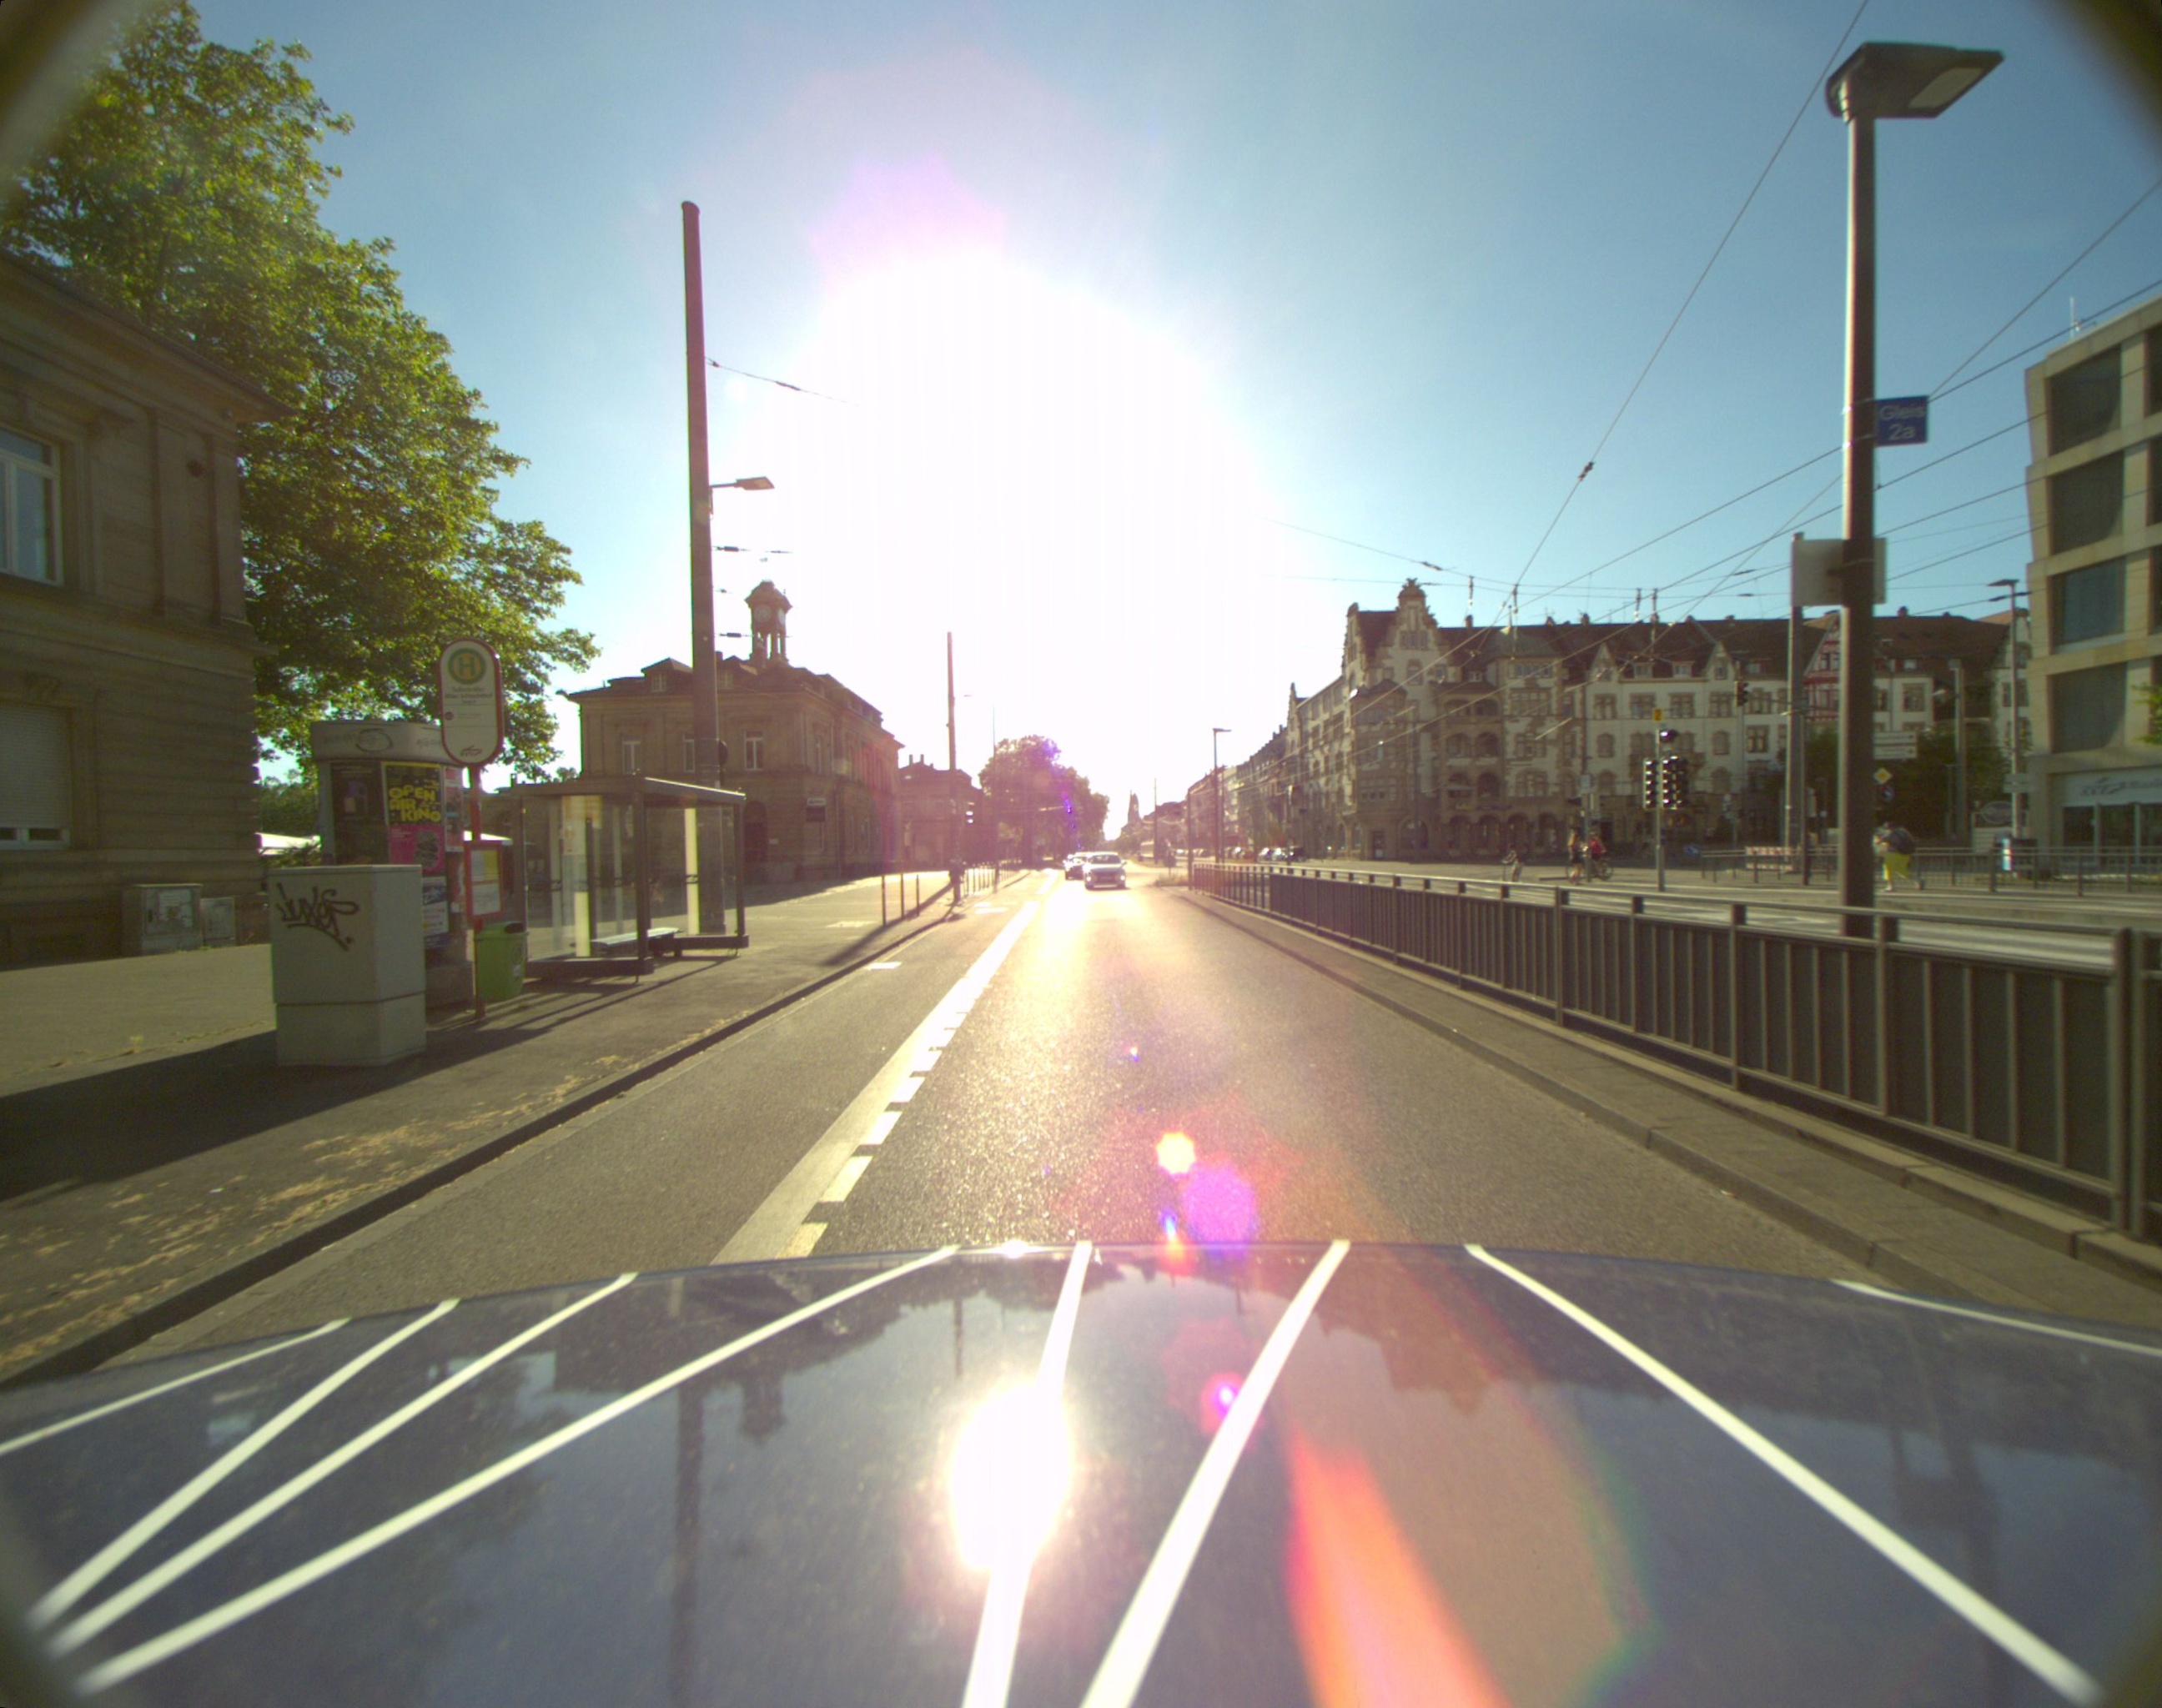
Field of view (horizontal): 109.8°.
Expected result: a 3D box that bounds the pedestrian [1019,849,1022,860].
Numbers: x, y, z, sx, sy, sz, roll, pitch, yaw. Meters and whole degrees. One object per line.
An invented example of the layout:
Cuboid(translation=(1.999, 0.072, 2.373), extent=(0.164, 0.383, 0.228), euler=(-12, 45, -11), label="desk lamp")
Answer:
Cuboid(translation=(-9.159, 0.059, 115.190), extent=(0.364, 1.635, 0.390), euler=(-1, 1, 1), label="pedestrian")

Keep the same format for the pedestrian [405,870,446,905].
Cuboid(translation=(-26.740, 1.339, 30.994), extent=(0.772, 1.372, 1.000), euler=(1, 1, 13), label="pedestrian")

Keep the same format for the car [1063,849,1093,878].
Cuboid(translation=(-0.171, 0.506, 44.859), extent=(1.649, 1.555, 3.665), euler=(-2, 1, 1), label="car")

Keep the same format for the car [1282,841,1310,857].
Cuboid(translation=(23.481, -0.588, 83.041), extent=(1.780, 1.660, 3.999), euler=(-1, 1, -1), label="car")

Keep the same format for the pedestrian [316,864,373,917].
Cuboid(translation=(-25.403, 1.248, 26.234), extent=(0.999, 1.778, 1.036), euler=(0, 1, -10), label="pedestrian")

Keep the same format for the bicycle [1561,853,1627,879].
Cuboid(translation=(18.474, 0.438, 27.389), extent=(1.888, 0.873, 0.608), euler=(-1, 1, 9), label="bicycle")

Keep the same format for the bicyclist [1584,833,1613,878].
Cuboid(translation=(18.589, 0.049, 27.299), extent=(0.629, 1.609, 0.684), euler=(-1, 1, 9), label="bicyclist")

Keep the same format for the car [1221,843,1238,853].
Cuboid(translation=(22.926, -0.948, 117.351), extent=(1.741, 1.516, 4.000), euler=(-3, 1, 1), label="car")

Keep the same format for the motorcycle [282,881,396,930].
Cuboid(translation=(-18.508, 1.282, 18.981), extent=(2.081, 1.096, 0.887), euler=(-2, 2, 8), label="motorcycle")

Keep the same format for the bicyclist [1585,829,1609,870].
Cuboid(translation=(22.894, -0.209, 33.719), extent=(0.669, 1.797, 0.645), euler=(-2, 1, -34), label="bicyclist")

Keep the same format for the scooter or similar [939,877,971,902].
Cuboid(translation=(-4.278, 1.200, 25.865), extent=(1.023, 0.807, 0.265), euler=(-1, 1, 1), label="scooter or similar")

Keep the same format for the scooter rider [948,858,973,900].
Cuboid(translation=(-4.118, 0.852, 25.943), extent=(0.703, 1.389, 0.599), euler=(-1, 1, 1), label="scooter rider")

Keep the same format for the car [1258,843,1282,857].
Cuboid(translation=(23.361, -0.501, 94.097), extent=(1.741, 1.516, 3.998), euler=(-3, 1, -4), label="car")

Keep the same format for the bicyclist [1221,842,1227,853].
Cuboid(translation=(21.132, -0.982, 112.179), extent=(0.683, 1.609, 0.630), euler=(-1, 1, -1), label="bicyclist")

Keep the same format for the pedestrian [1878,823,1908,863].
Cuboid(translation=(34.119, -0.451, 31.926), extent=(0.616, 1.672, 0.582), euler=(-1, 1, -2), label="pedestrian")

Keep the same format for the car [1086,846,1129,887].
Cuboid(translation=(1.067, 0.483, 31.826), extent=(1.649, 1.555, 3.665), euler=(-2, 1, 1), label="car")

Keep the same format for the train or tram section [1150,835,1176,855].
Cuboid(translation=(15.462, -1.591, 144.866), extent=(2.781, 3.379, 19.473), euler=(-2, 0, 1), label="train or tram section")

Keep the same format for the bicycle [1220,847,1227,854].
Cuboid(translation=(21.023, -0.529, 112.145), extent=(0.607, 0.996, 2.068), euler=(-1, 1, -2), label="bicycle")

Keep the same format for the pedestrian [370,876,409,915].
Cuboid(translation=(-27.119, 1.626, 29.801), extent=(0.673, 1.367, 0.654), euler=(-13, -1, 10), label="pedestrian")

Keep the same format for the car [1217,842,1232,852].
Cuboid(translation=(23.114, -1.060, 122.644), extent=(1.741, 1.516, 4.000), euler=(-3, 1, 1), label="car")

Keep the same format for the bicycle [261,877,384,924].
Cuboid(translation=(-23.773, 1.448, 23.874), extent=(2.669, 1.271, 0.781), euler=(-2, 2, -12), label="bicycle")

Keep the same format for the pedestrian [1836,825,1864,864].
Cuboid(translation=(33.193, -0.412, 32.792), extent=(0.616, 1.672, 0.582), euler=(-1, 1, -2), label="pedestrian")

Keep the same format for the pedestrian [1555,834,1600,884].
Cuboid(translation=(16.499, 0.159, 25.262), extent=(0.933, 1.635, 0.795), euler=(-2, 1, -12), label="pedestrian")

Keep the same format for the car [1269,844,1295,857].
Cuboid(translation=(23.463, -0.451, 88.696), extent=(1.727, 1.467, 4.431), euler=(-1, 1, -2), label="car")

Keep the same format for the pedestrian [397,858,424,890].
Cuboid(translation=(-36.469, 1.080, 41.352), extent=(0.839, 1.734, 0.664), euler=(0, 1, -3), label="pedestrian")

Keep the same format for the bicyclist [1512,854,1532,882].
Cuboid(translation=(15.731, 0.501, 27.117), extent=(0.462, 0.988, 0.511), euler=(-1, 1, 10), label="bicyclist")

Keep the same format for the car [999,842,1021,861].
Cuboid(translation=(-7.951, -0.292, 85.506), extent=(1.833, 2.035, 4.000), euler=(-2, 1, 4), label="car")

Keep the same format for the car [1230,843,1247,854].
Cuboid(translation=(23.026, -0.829, 111.195), extent=(1.741, 1.516, 4.000), euler=(-3, 1, 1), label="car")

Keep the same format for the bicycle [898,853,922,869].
Cuboid(translation=(-13.114, 0.518, 58.240), extent=(1.650, 1.174, 0.690), euler=(0, 1, -1), label="bicycle")

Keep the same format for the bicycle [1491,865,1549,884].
Cuboid(translation=(15.680, 0.715, 27.150), extent=(1.724, 0.605, 0.512), euler=(-2, 2, 10), label="bicycle")

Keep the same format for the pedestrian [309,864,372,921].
Cuboid(translation=(-23.495, 1.204, 24.126), extent=(0.999, 1.734, 1.036), euler=(0, 1, -10), label="pedestrian")

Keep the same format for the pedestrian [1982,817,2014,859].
Cuboid(translation=(37.839, -0.659, 31.348), extent=(0.616, 1.672, 0.583), euler=(-1, 1, 6), label="pedestrian")

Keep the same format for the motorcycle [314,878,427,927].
Cuboid(translation=(-18.576, 1.259, 19.887), extent=(2.224, 1.153, 0.887), euler=(-2, 2, 8), label="motorcycle")

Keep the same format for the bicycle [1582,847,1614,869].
Cuboid(translation=(23.028, 0.158, 33.816), extent=(1.892, 0.906, 0.512), euler=(-2, 2, -34), label="bicycle")

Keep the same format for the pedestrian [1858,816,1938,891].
Cuboid(translation=(18.291, -0.017, 17.042), extent=(0.795, 1.635, 0.933), euler=(-1, 1, 2), label="pedestrian")

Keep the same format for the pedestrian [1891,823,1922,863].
Cuboid(translation=(34.837, -0.454, 32.060), extent=(0.616, 1.672, 0.639), euler=(-1, 1, -3), label="pedestrian")

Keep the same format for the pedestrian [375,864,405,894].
Cuboid(translation=(-33.917, 1.231, 37.294), extent=(0.839, 1.458, 0.664), euler=(0, 1, -2), label="pedestrian")

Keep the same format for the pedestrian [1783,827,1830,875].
Cuboid(translation=(25.296, -0.098, 26.488), extent=(0.933, 1.635, 0.795), euler=(-2, 1, -12), label="pedestrian")
